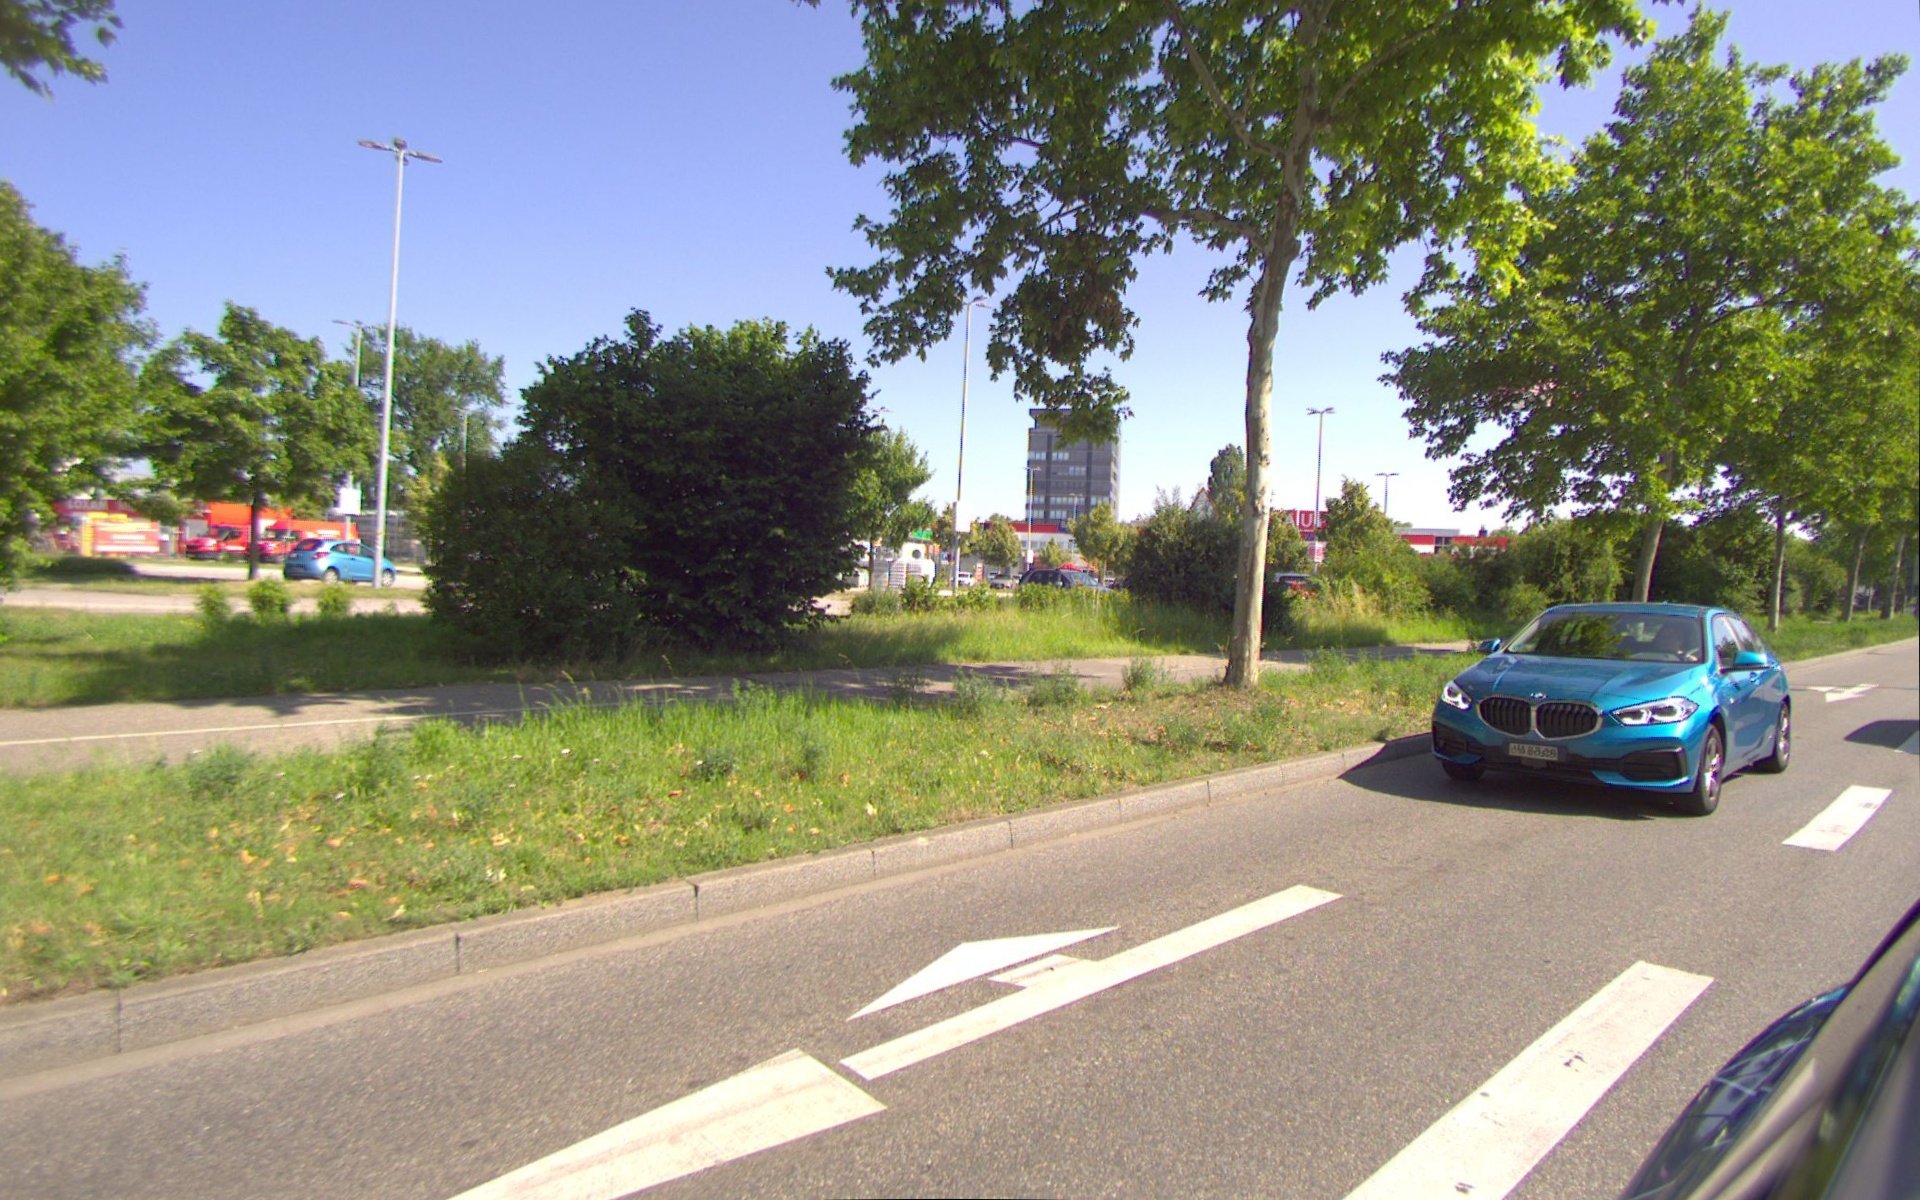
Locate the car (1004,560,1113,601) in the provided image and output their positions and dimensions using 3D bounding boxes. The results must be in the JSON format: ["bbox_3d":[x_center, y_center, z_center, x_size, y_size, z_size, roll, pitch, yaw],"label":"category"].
[{"bbox_3d":[3.161,-0.630,33.081,1.583,1.263,3.528,0,1,-38],"label":"car"}]

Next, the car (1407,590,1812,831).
[{"bbox_3d":[5.511,0.676,8.369,4.061,1.437,1.870,0,2,-43],"label":"car"}]

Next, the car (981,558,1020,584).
[{"bbox_3d":[3.331,-2.367,83.031,1.977,2.039,3.970,0,1,23],"label":"car"}]

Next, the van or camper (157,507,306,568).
[{"bbox_3d":[-40.057,-3.331,56.003,1.970,2.979,7.259,0,1,13],"label":"van or camper"}]

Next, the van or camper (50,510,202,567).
[{"bbox_3d":[-48.806,-3.496,59.506,1.970,2.979,7.259,0,1,13],"label":"van or camper"}]

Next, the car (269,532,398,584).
[{"bbox_3d":[-20.226,-1.316,32.803,1.522,1.552,3.470,0,1,16],"label":"car"}]
